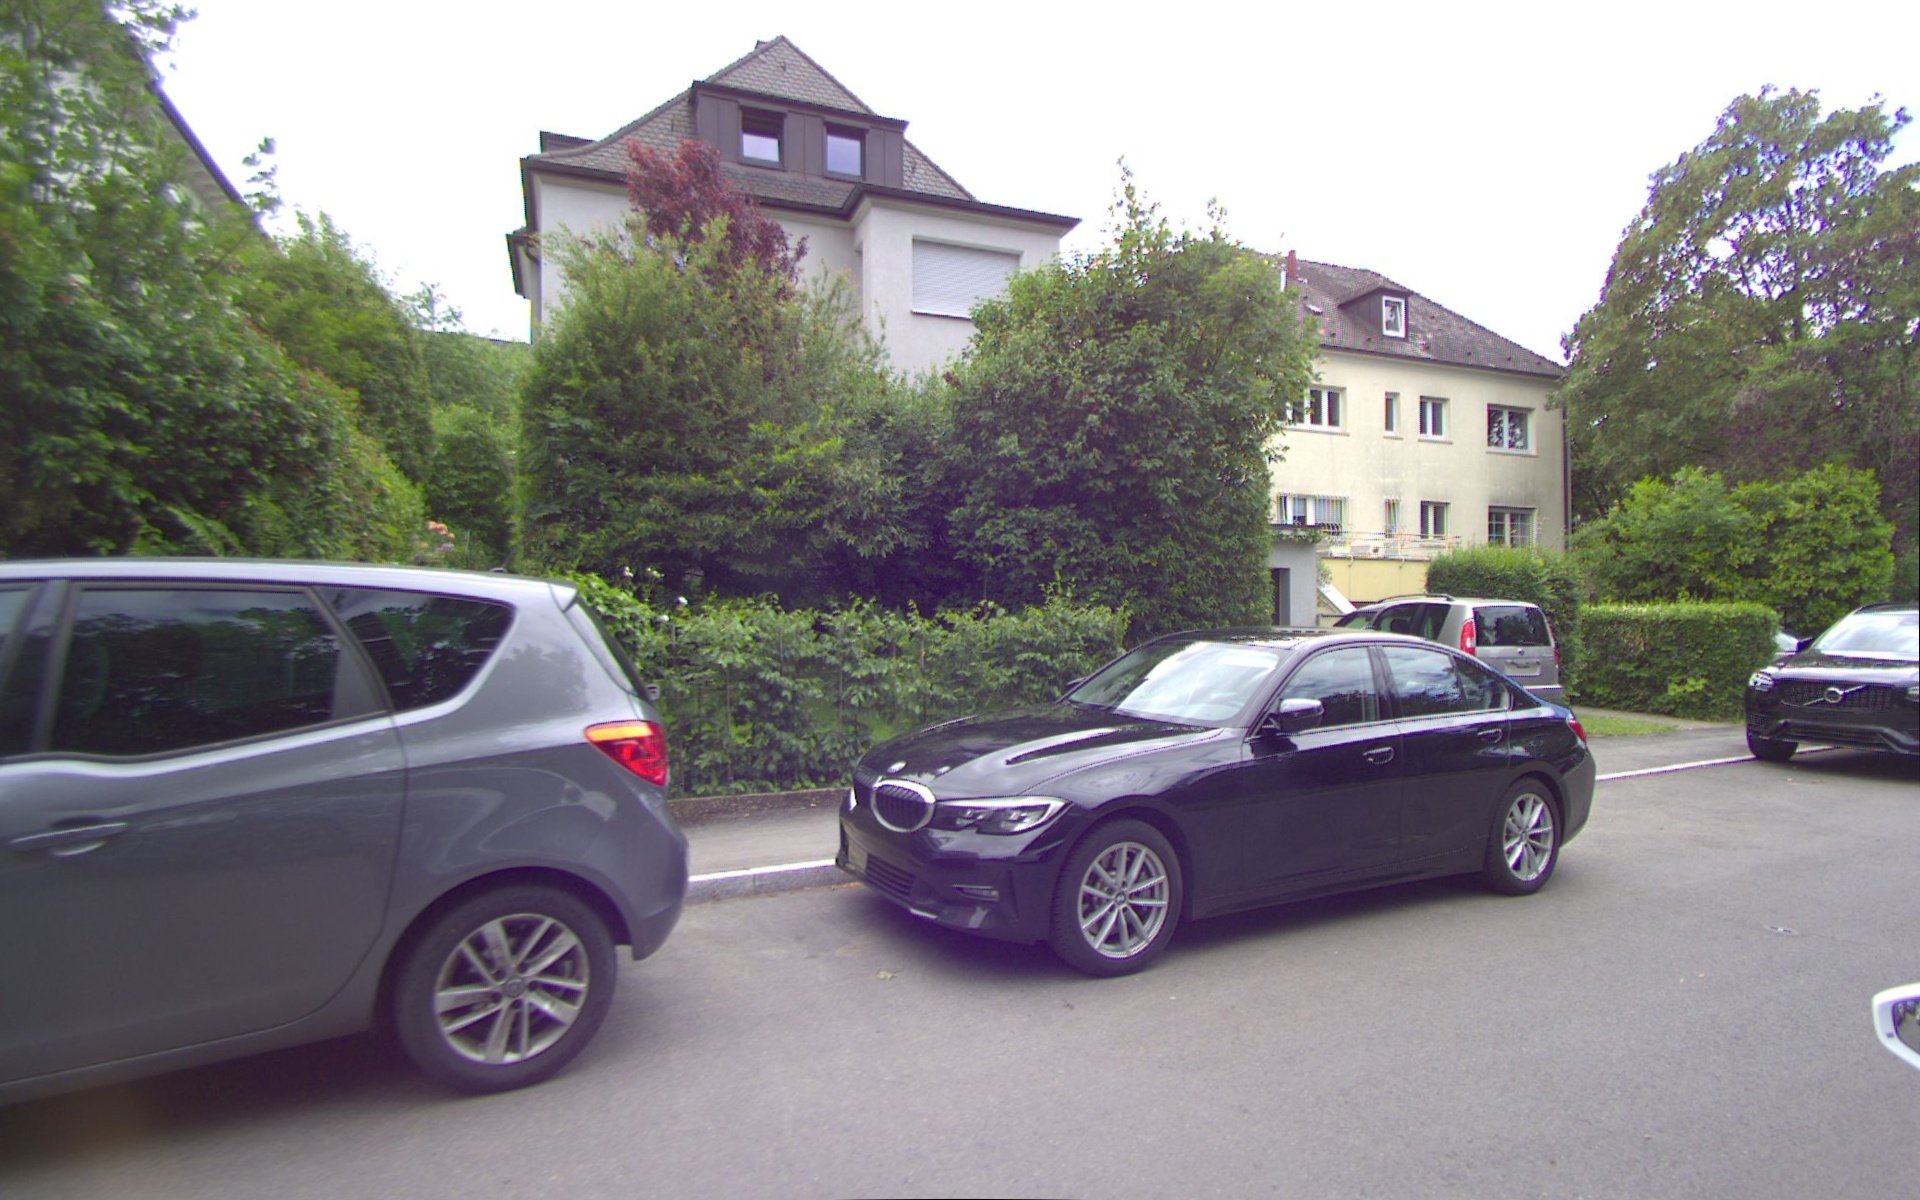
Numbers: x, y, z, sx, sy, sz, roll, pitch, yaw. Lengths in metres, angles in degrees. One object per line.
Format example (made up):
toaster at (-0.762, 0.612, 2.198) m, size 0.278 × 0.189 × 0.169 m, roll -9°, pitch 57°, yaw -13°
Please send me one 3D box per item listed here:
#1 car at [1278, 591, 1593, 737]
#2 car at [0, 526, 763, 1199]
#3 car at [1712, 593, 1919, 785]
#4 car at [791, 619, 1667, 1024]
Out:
car at (6.117, 0.743, 13.426) m, size 1.799 × 1.659 × 3.690 m, roll 1°, pitch 0°, yaw -17°
car at (-3.028, 0.644, 2.925) m, size 4.517 × 1.654 × 1.722 m, roll 1°, pitch 0°, yaw -32°
car at (10.731, 0.848, 11.060) m, size 5.125 × 1.760 × 1.966 m, roll 1°, pitch 0°, yaw -28°
car at (1.659, 0.853, 5.573) m, size 4.837 × 1.431 × 1.747 m, roll 1°, pitch 0°, yaw -28°
